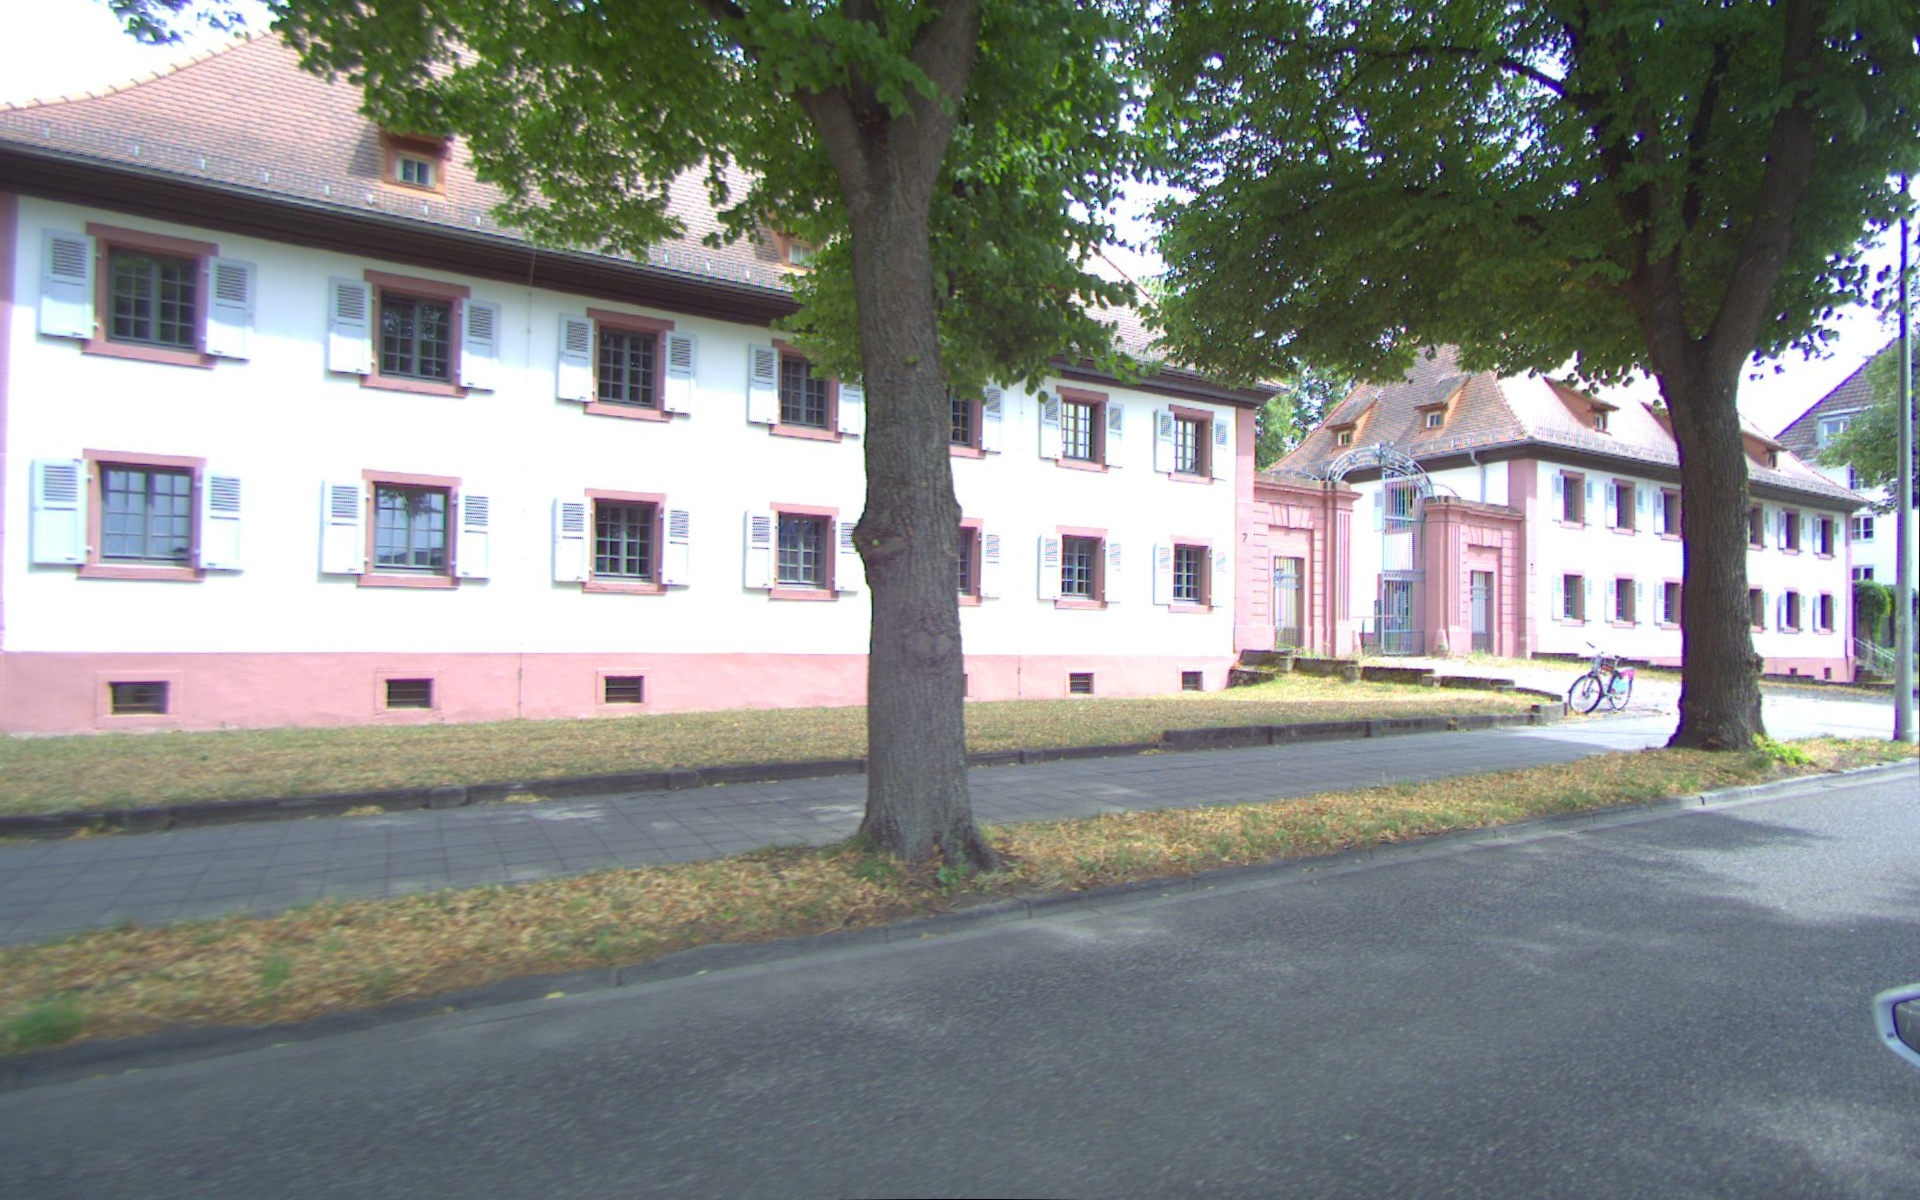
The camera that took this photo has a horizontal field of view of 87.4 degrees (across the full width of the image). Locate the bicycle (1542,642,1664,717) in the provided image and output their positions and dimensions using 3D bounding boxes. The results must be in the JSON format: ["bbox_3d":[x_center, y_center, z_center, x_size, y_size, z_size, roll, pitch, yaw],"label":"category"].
[{"bbox_3d":[10.553,1.270,16.473,2.199,1.110,0.719,1,2,-30],"label":"bicycle"}]
